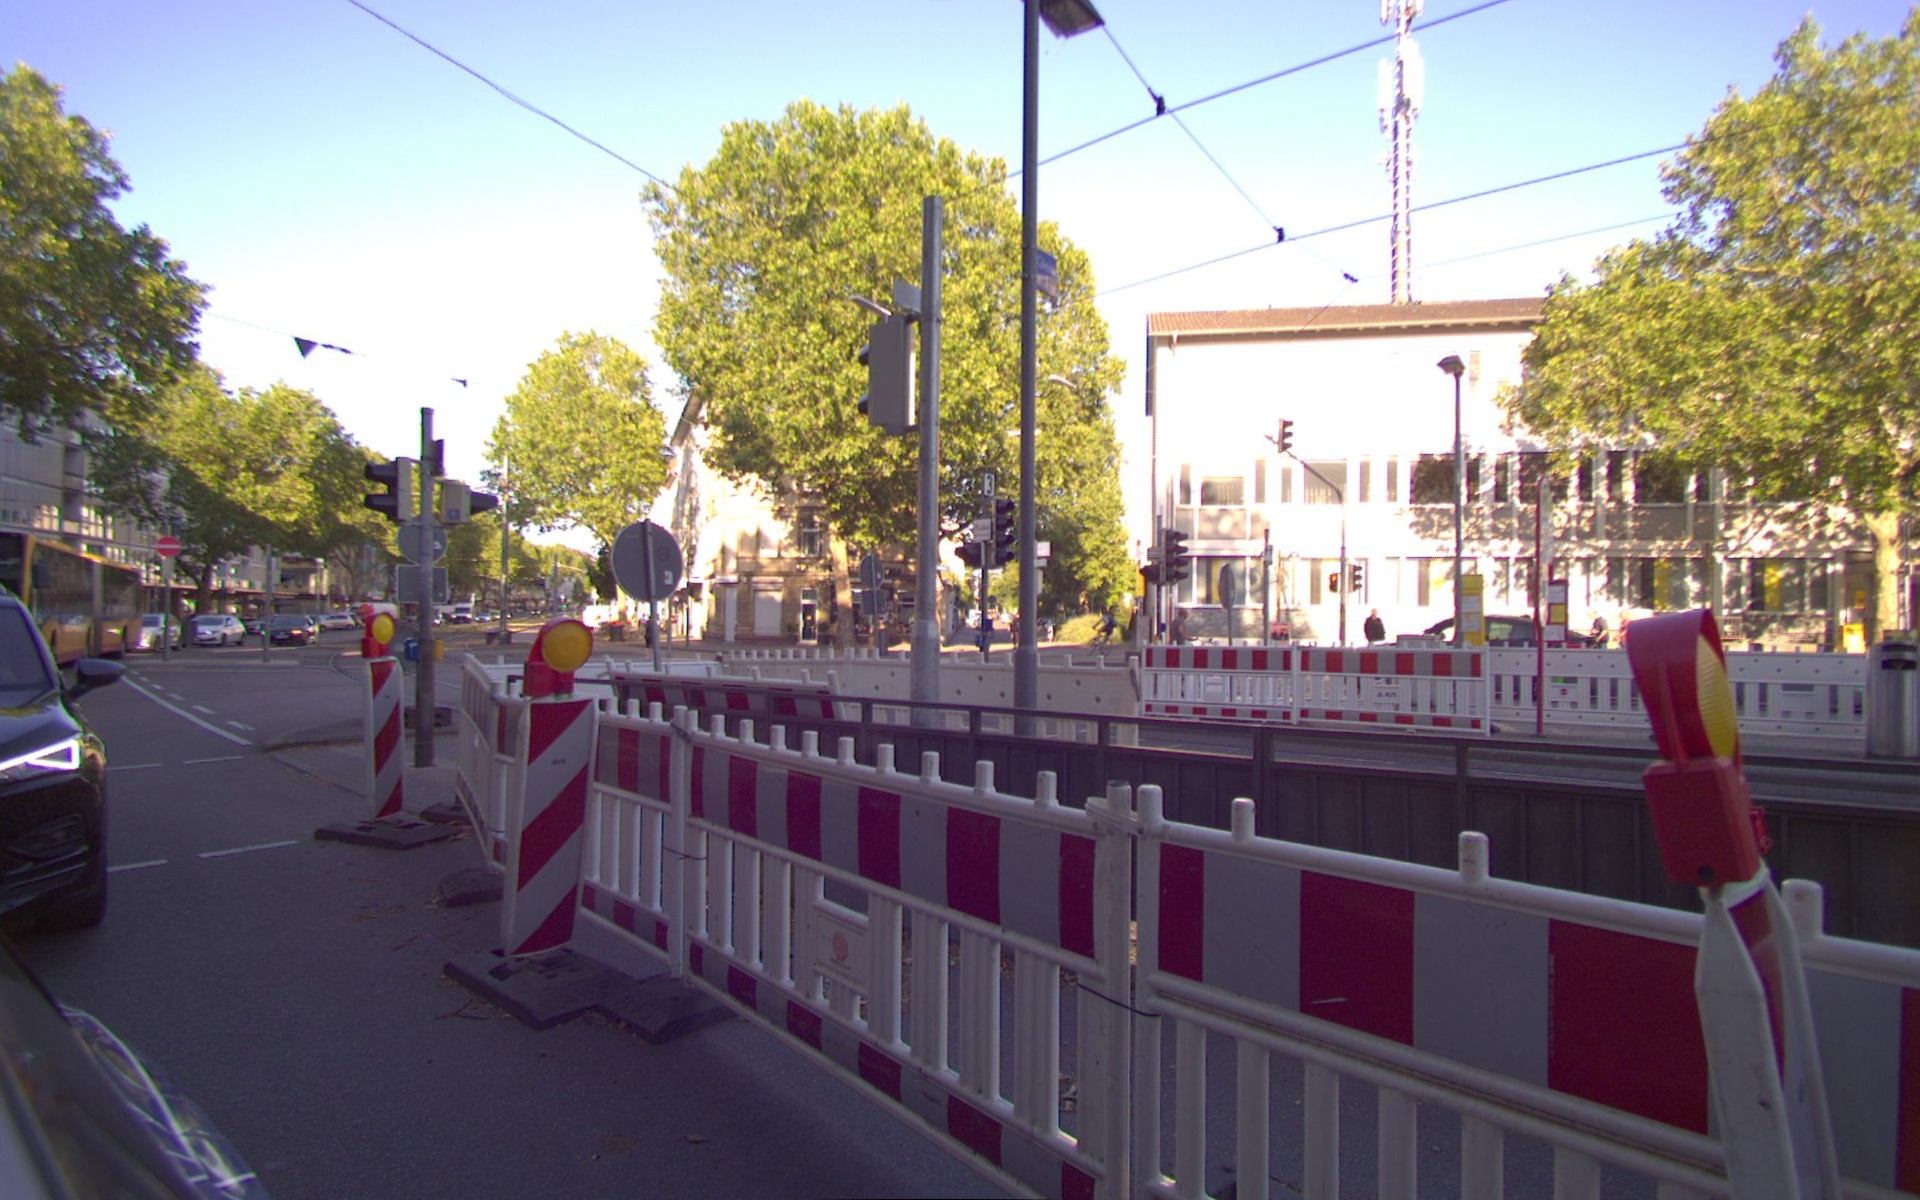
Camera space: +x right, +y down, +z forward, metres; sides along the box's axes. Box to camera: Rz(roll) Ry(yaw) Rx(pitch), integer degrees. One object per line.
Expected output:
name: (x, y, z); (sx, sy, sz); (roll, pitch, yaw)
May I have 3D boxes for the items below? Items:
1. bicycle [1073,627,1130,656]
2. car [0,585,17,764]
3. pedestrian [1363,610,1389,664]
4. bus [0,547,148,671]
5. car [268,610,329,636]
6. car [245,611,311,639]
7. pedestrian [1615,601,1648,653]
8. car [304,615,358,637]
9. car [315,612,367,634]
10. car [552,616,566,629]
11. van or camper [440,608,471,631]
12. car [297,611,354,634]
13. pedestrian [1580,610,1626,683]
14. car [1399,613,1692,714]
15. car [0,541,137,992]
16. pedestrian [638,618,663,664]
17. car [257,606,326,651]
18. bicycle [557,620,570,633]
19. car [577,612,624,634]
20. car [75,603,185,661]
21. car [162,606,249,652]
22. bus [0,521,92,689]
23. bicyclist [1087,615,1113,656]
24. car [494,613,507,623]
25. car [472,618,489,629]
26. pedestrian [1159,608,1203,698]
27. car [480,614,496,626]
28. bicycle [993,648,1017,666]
bicycle: (5.393, 1.569, 38.631); (0.668, 1.039, 2.191); (2, -2, -45)
car: (-11.009, 0.693, 10.064); (4.073, 1.656, 1.973); (-1, -2, 41)
pedestrian: (12.085, 1.069, 29.388); (0.649, 1.564, 0.563); (-1, -2, 28)
bus: (-25.962, 0.303, 29.235); (2.676, 3.130, 8.622); (1, -2, -31)
car: (-53.984, 1.878, 82.632); (3.938, 2.029, 2.002); (1, -2, -42)
car: (-50.485, 1.831, 74.964); (3.932, 2.029, 2.006); (1, -2, -31)
pedestrian: (19.202, 0.778, 28.952); (0.579, 1.466, 0.584); (0, -1, 11)
car: (-58.493, 2.398, 94.175); (3.938, 2.029, 2.002); (1, -2, -42)
car: (-60.238, 2.237, 98.520); (3.938, 2.029, 2.002); (1, -2, -42)
car: (-62.998, 3.535, 159.011); (1.965, 2.029, 4.013); (1, -1, -20)
van or camper: (-60.797, 2.332, 122.084); (2.385, 2.739, 6.151); (1, -1, -18)
car: (-56.053, 1.998, 89.441); (3.938, 2.029, 2.002); (1, -2, -42)
pedestrian: (16.789, 1.201, 26.445); (0.923, 1.847, 0.693); (-1, -2, 28)
car: (10.891, 1.089, 18.989); (4.552, 1.674, 1.974); (-1, -2, 38)
car: (-5.494, 0.643, 4.791); (3.998, 1.719, 1.818); (-1, -2, 41)
pedestrian: (-10.653, 1.402, 34.862); (0.594, 1.545, 0.746); (1, -2, -37)
car: (-31.656, 1.347, 48.055); (1.965, 2.029, 4.013); (1, -1, -22)
bicycle: (-36.770, 2.460, 93.863); (0.837, 1.202, 2.474); (1, -2, -27)
car: (-34.420, 2.189, 97.043); (1.990, 2.029, 3.963); (0, -2, 27)
car: (-30.874, 1.164, 37.810); (1.965, 2.029, 4.111); (1, -1, -21)
car: (-34.904, 1.322, 46.934); (1.966, 2.029, 4.012); (1, -1, -17)
bus: (-21.107, 0.144, 21.987); (2.678, 3.130, 8.641); (1, -2, -36)
bicyclist: (5.337, 1.334, 38.620); (0.567, 1.538, 0.846); (2, -2, -43)
car: (-81.007, 3.209, 178.434); (1.809, 1.816, 4.143); (1, -2, -19)
car: (-66.610, 3.245, 140.633); (1.675, 1.481, 3.776); (1, -2, -19)
pedestrian: (4.405, 1.051, 20.206); (0.545, 1.760, 0.693); (1, -2, -24)
car: (-73.102, 3.093, 156.862); (1.809, 1.816, 4.143); (1, -2, -19)
bicycle: (2.182, 2.723, 48.491); (0.676, 0.788, 1.979); (0, -1, 17)
